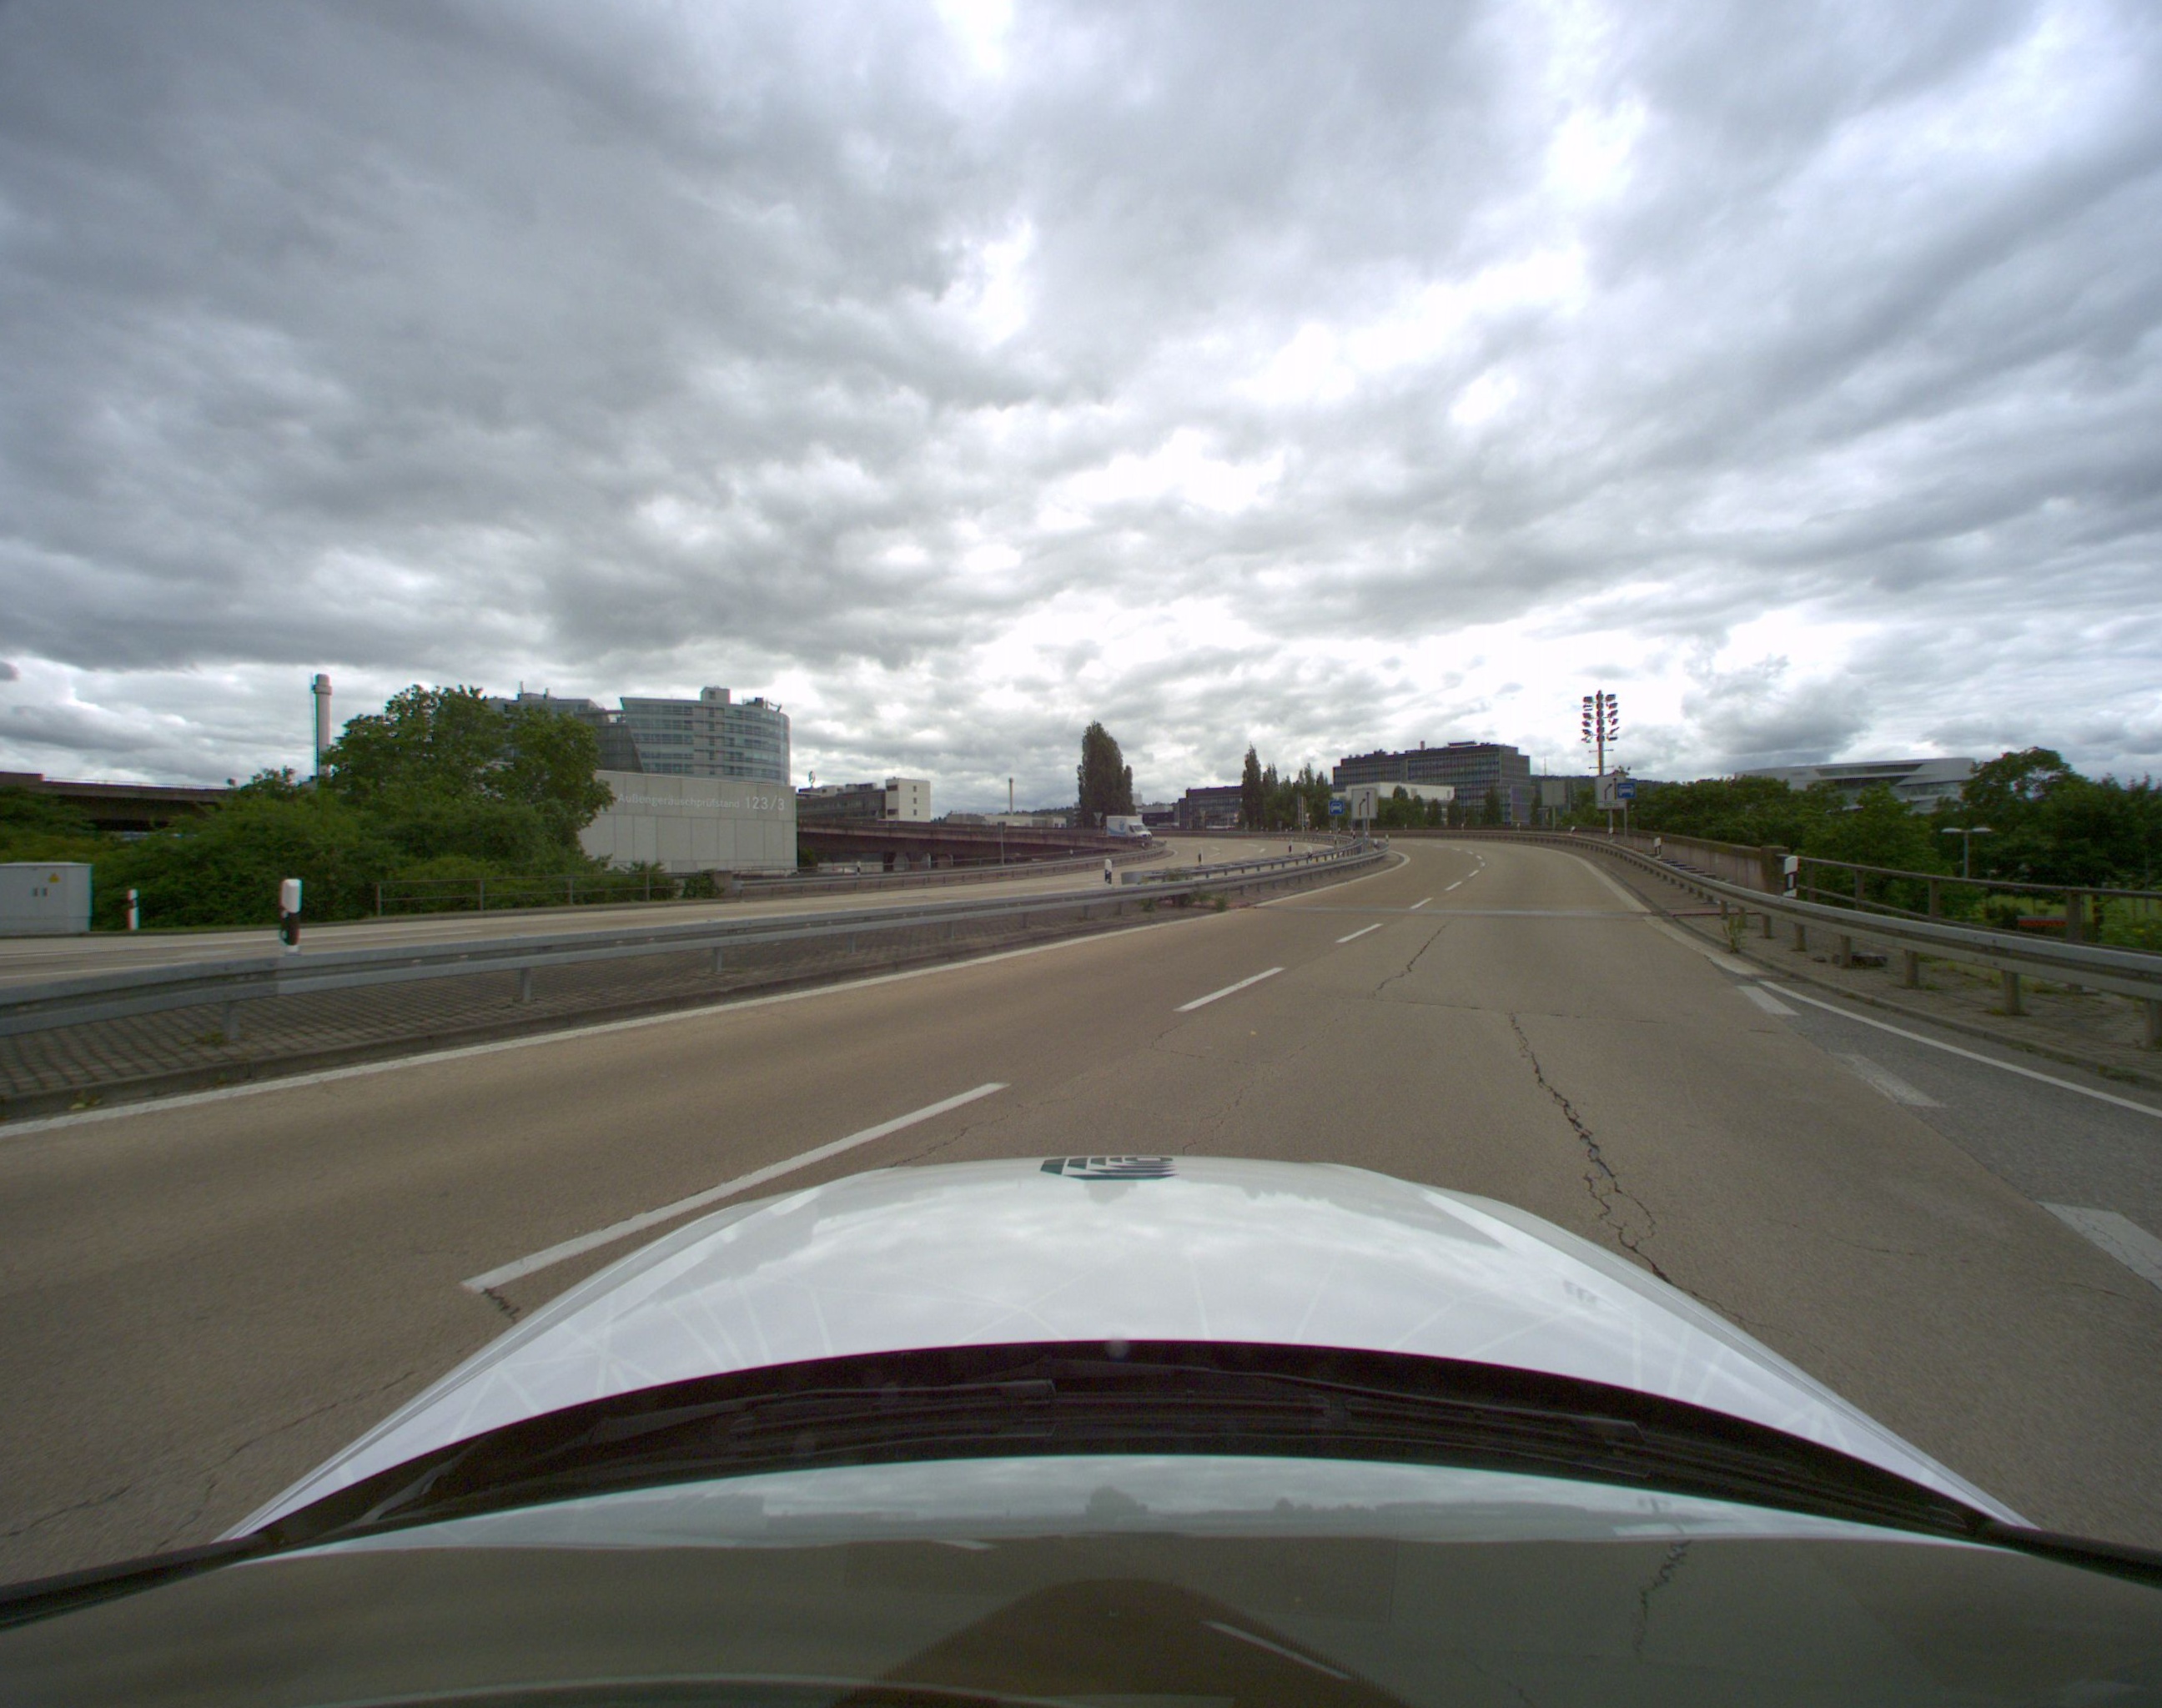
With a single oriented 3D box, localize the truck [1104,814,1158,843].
[{"bbox_3d":[5.677,-2.963,93.552,2.362,3.262,6.923,0,2,-34],"label":"truck"}]
